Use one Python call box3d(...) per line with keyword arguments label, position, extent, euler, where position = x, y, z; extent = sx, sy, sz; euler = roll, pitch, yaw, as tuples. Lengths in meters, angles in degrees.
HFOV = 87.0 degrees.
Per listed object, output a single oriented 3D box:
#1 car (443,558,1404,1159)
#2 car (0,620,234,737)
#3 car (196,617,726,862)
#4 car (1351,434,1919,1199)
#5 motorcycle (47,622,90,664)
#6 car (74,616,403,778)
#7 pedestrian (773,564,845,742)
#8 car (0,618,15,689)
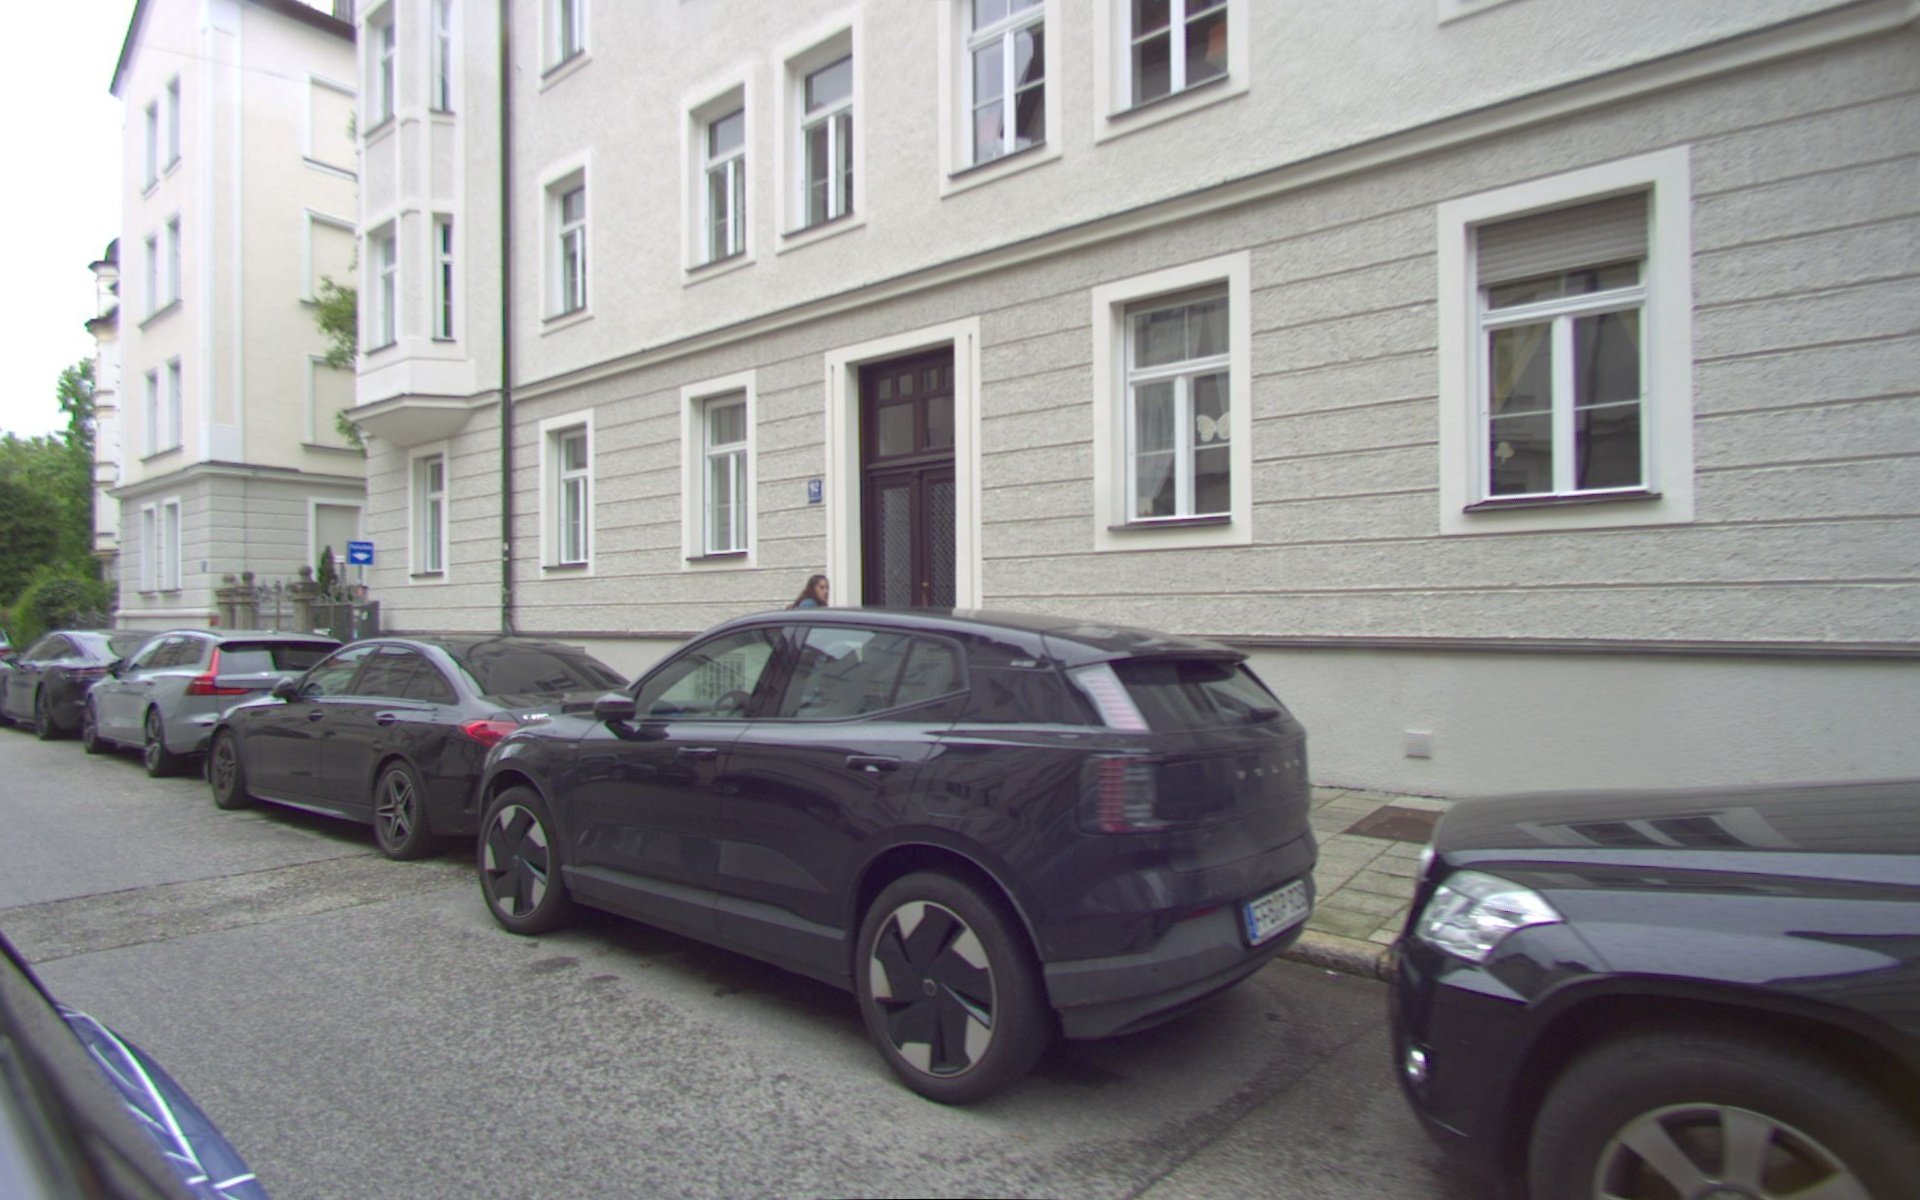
box3d(label="car", position=(-0.464, 0.674, 4.517), extent=(4.176, 1.498, 1.725), euler=(-1, -1, 39))
box3d(label="car", position=(-12.360, 1.021, 14.532), extent=(4.694, 1.377, 1.833), euler=(-1, 0, 37))
box3d(label="car", position=(-3.990, 0.852, 7.806), extent=(4.434, 1.396, 1.794), euler=(-1, -2, 36))
box3d(label="car", position=(3.074, 0.576, 1.611), extent=(4.269, 1.686, 1.729), euler=(-2, -4, 38))
box3d(label="motorcycle", position=(-28.862, 1.383, 32.758), extent=(1.818, 1.259, 0.698), euler=(0, 2, 38))
box3d(label="car", position=(-8.042, 0.924, 11.120), extent=(4.506, 1.430, 1.777), euler=(-1, -3, 39))
box3d(label="pedestrian", position=(-1.545, 0.517, 10.284), extent=(0.654, 1.720, 0.701), euler=(-1, 0, -11))
box3d(label="car", position=(-23.309, 1.216, 23.319), extent=(4.057, 1.593, 1.680), euler=(-2, -3, 39))
